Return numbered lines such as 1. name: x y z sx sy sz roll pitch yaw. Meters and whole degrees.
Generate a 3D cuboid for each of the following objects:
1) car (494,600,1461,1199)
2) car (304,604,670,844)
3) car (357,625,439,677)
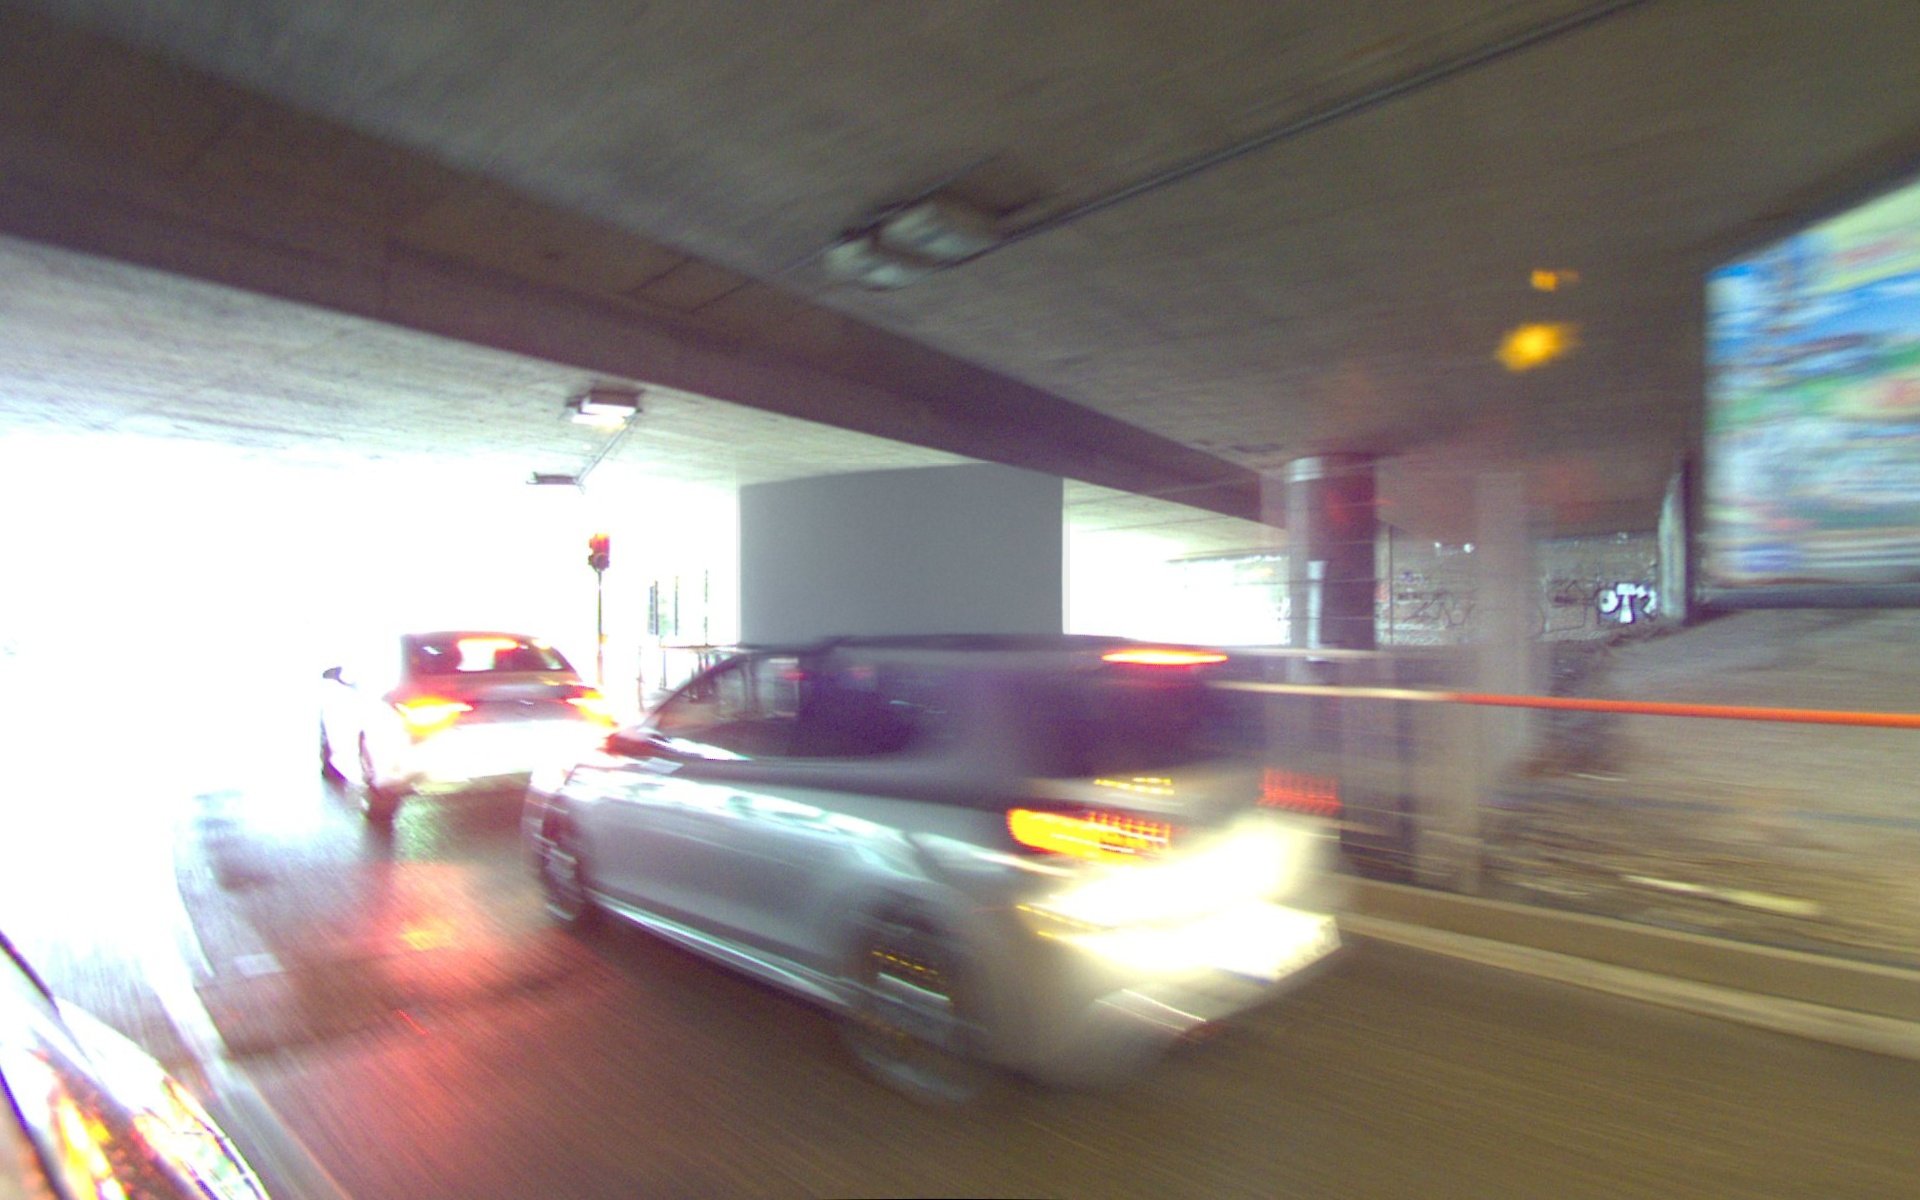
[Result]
1. car: -0.290 0.762 4.496 1.970 1.476 4.108 1 -1 -44
2. car: -4.371 0.858 8.908 1.967 1.542 4.509 2 -2 -38
3. car: -17.909 1.621 32.437 1.679 1.569 4.012 0 -3 -20
